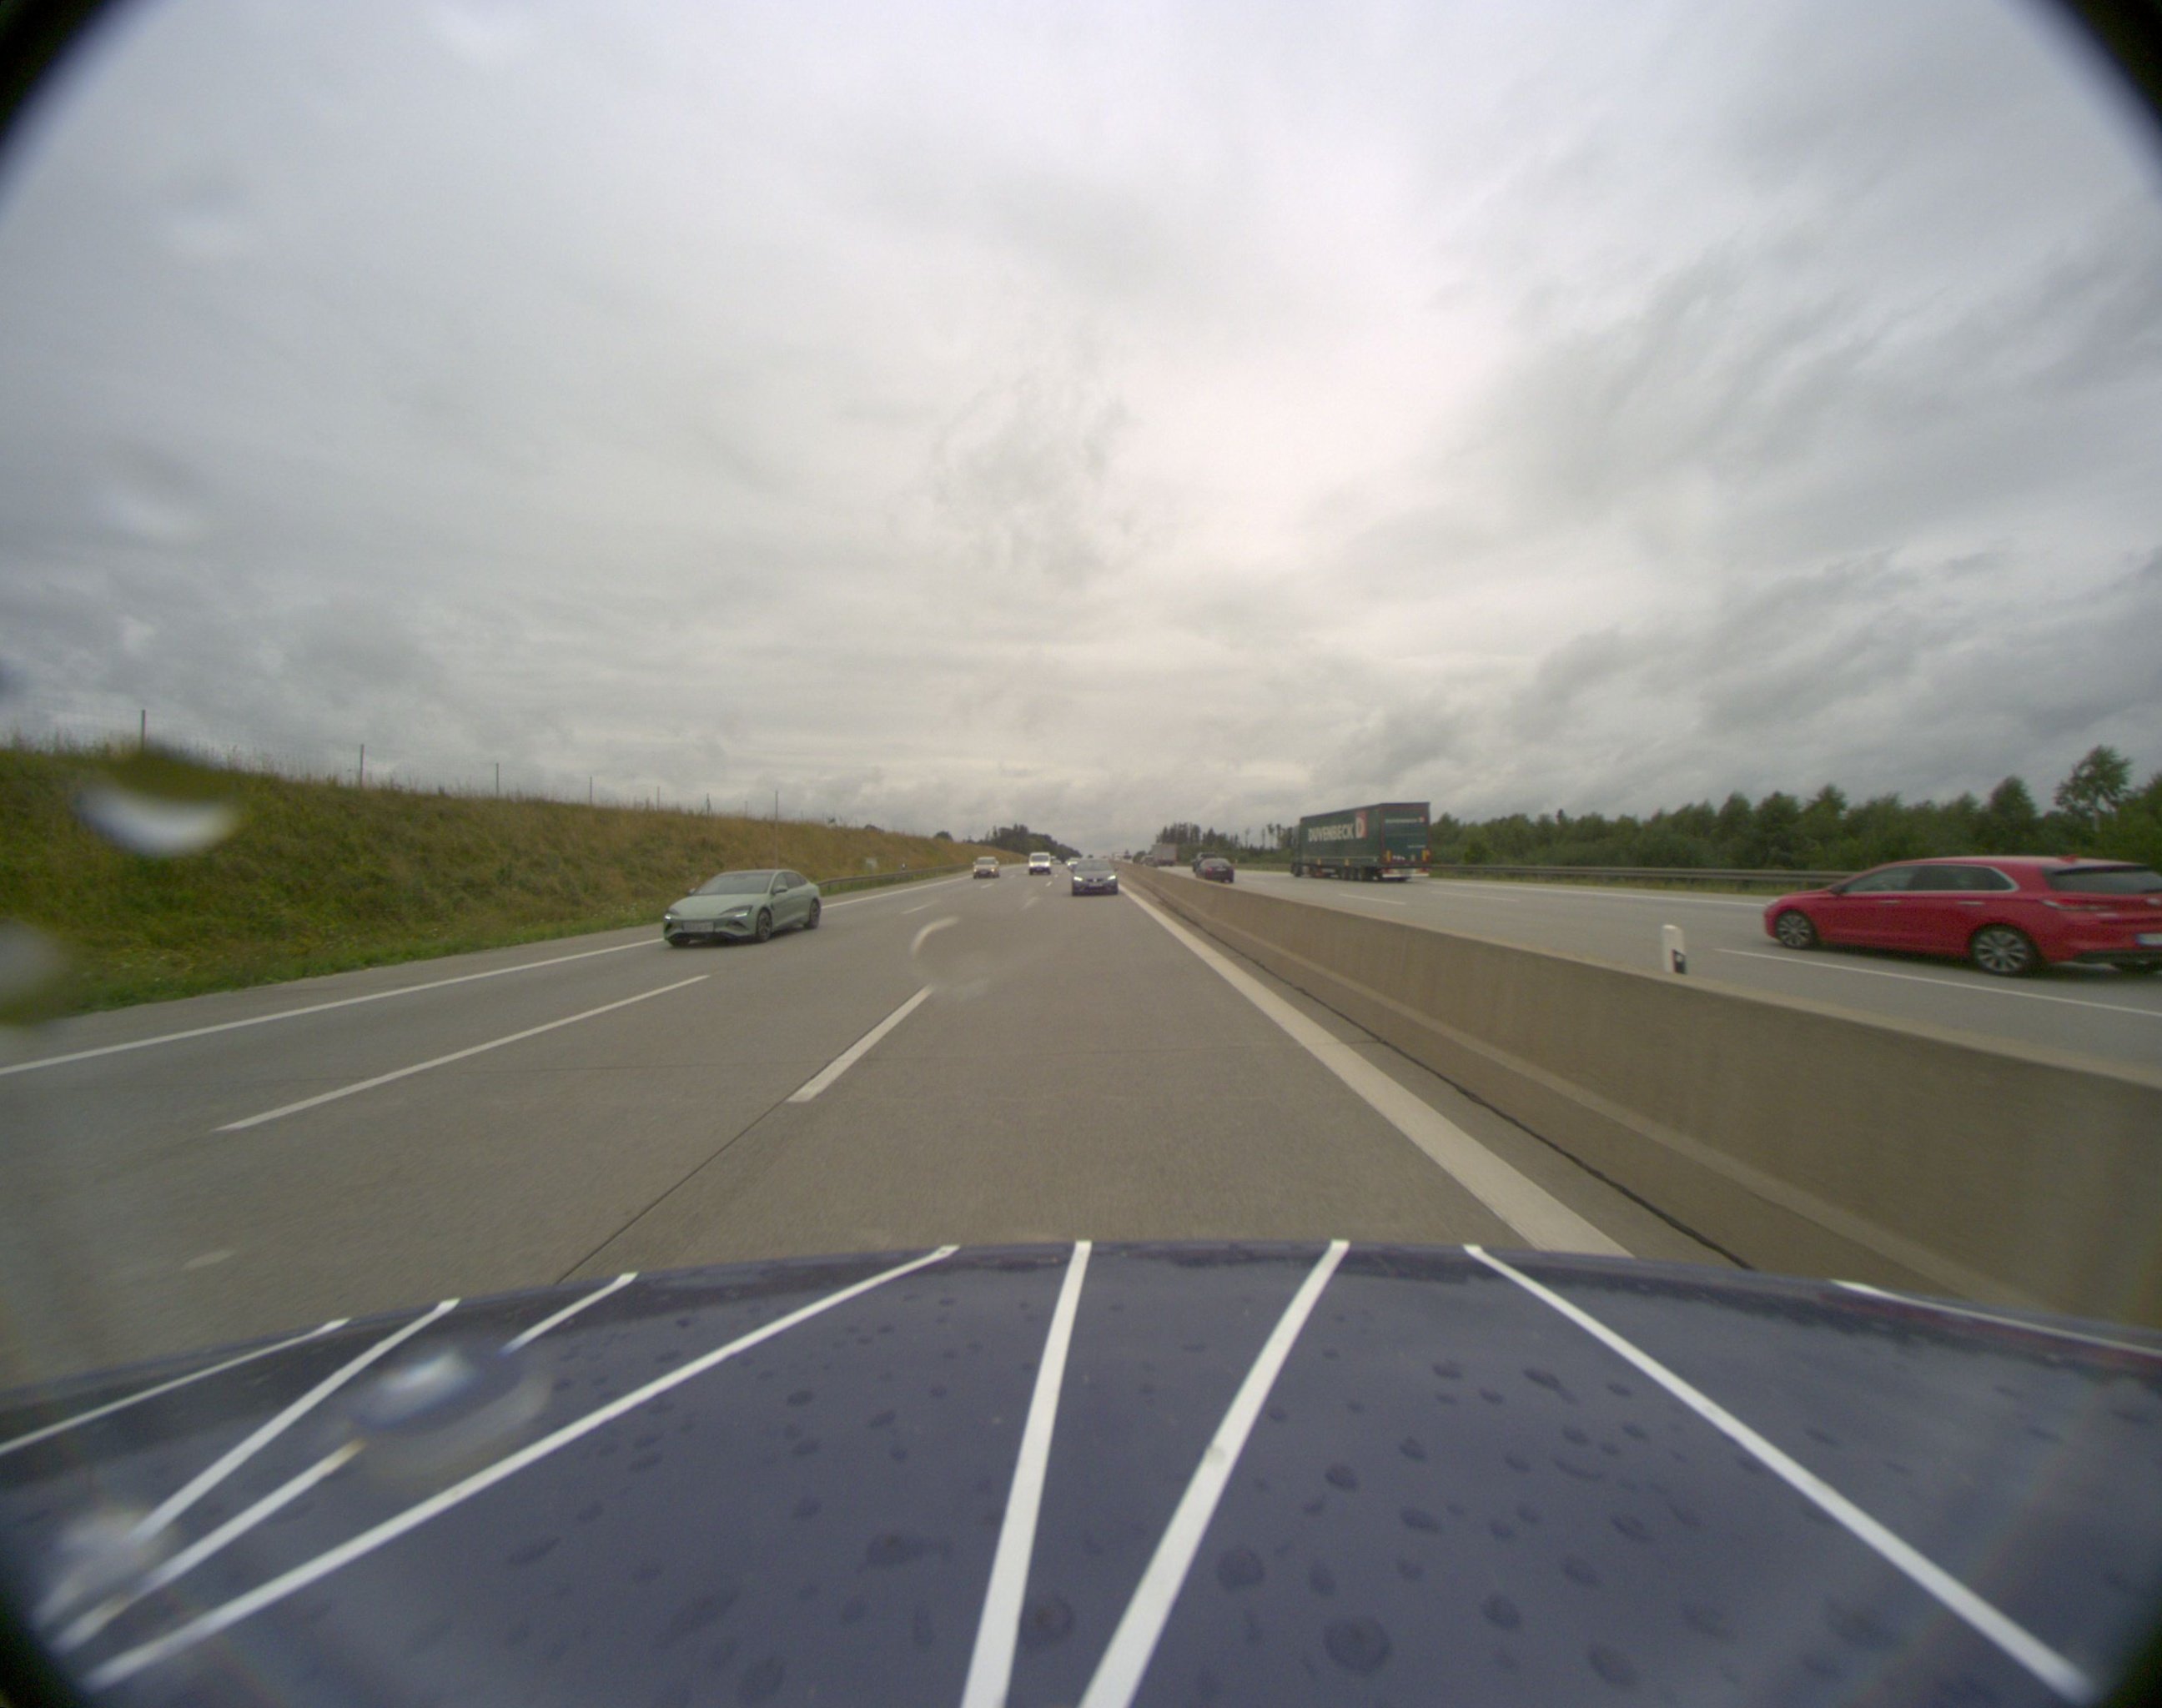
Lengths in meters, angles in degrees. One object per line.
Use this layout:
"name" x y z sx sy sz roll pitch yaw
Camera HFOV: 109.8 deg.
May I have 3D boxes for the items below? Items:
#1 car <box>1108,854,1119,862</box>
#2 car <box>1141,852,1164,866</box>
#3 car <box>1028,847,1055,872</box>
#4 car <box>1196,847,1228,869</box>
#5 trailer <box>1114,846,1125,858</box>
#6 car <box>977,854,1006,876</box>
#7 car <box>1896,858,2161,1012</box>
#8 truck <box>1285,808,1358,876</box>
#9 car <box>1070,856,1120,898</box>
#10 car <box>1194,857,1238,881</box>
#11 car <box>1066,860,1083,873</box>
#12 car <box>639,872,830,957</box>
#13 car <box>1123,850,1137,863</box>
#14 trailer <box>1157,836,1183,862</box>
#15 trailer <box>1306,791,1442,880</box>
"car" 7.278 0.927 170.762 2.040 1.856 4.603 1 0 -1
"car" 7.920 0.538 84.875 1.999 1.510 4.397 1 -1 -1
"car" -3.476 0.534 67.423 2.043 2.111 6.068 1 -1 0
"car" 12.073 0.403 70.250 1.998 1.962 5.331 1 -1 0
"trailer" 13.085 -0.569 258.417 2.895 3.979 13.014 1 -1 -2
"car" -7.097 0.886 60.469 1.790 1.595 4.571 1 -1 -1
"car" 11.956 0.837 8.093 1.722 1.499 4.486 -2 0 0
"truck" 16.217 -0.709 51.652 2.796 4.237 6.049 -3 -1 -1
"car" 0.648 0.863 30.408 1.789 1.472 4.571 -1 0 3
"car" 7.999 0.883 45.250 1.776 1.349 4.366 1 -1 -1
"car" -0.891 1.635 100.093 1.998 1.632 5.043 1 -1 2
"car" -7.273 1.189 16.607 2.019 1.437 4.745 -3 -1 -1
"car" 8.145 0.455 127.725 1.919 2.001 5.924 1 -1 -1
"trailer" 15.557 -0.827 134.239 2.926 4.192 11.873 1 -1 -1
"trailer" 16.306 -0.822 43.661 2.772 4.256 12.168 -2 -1 -1
